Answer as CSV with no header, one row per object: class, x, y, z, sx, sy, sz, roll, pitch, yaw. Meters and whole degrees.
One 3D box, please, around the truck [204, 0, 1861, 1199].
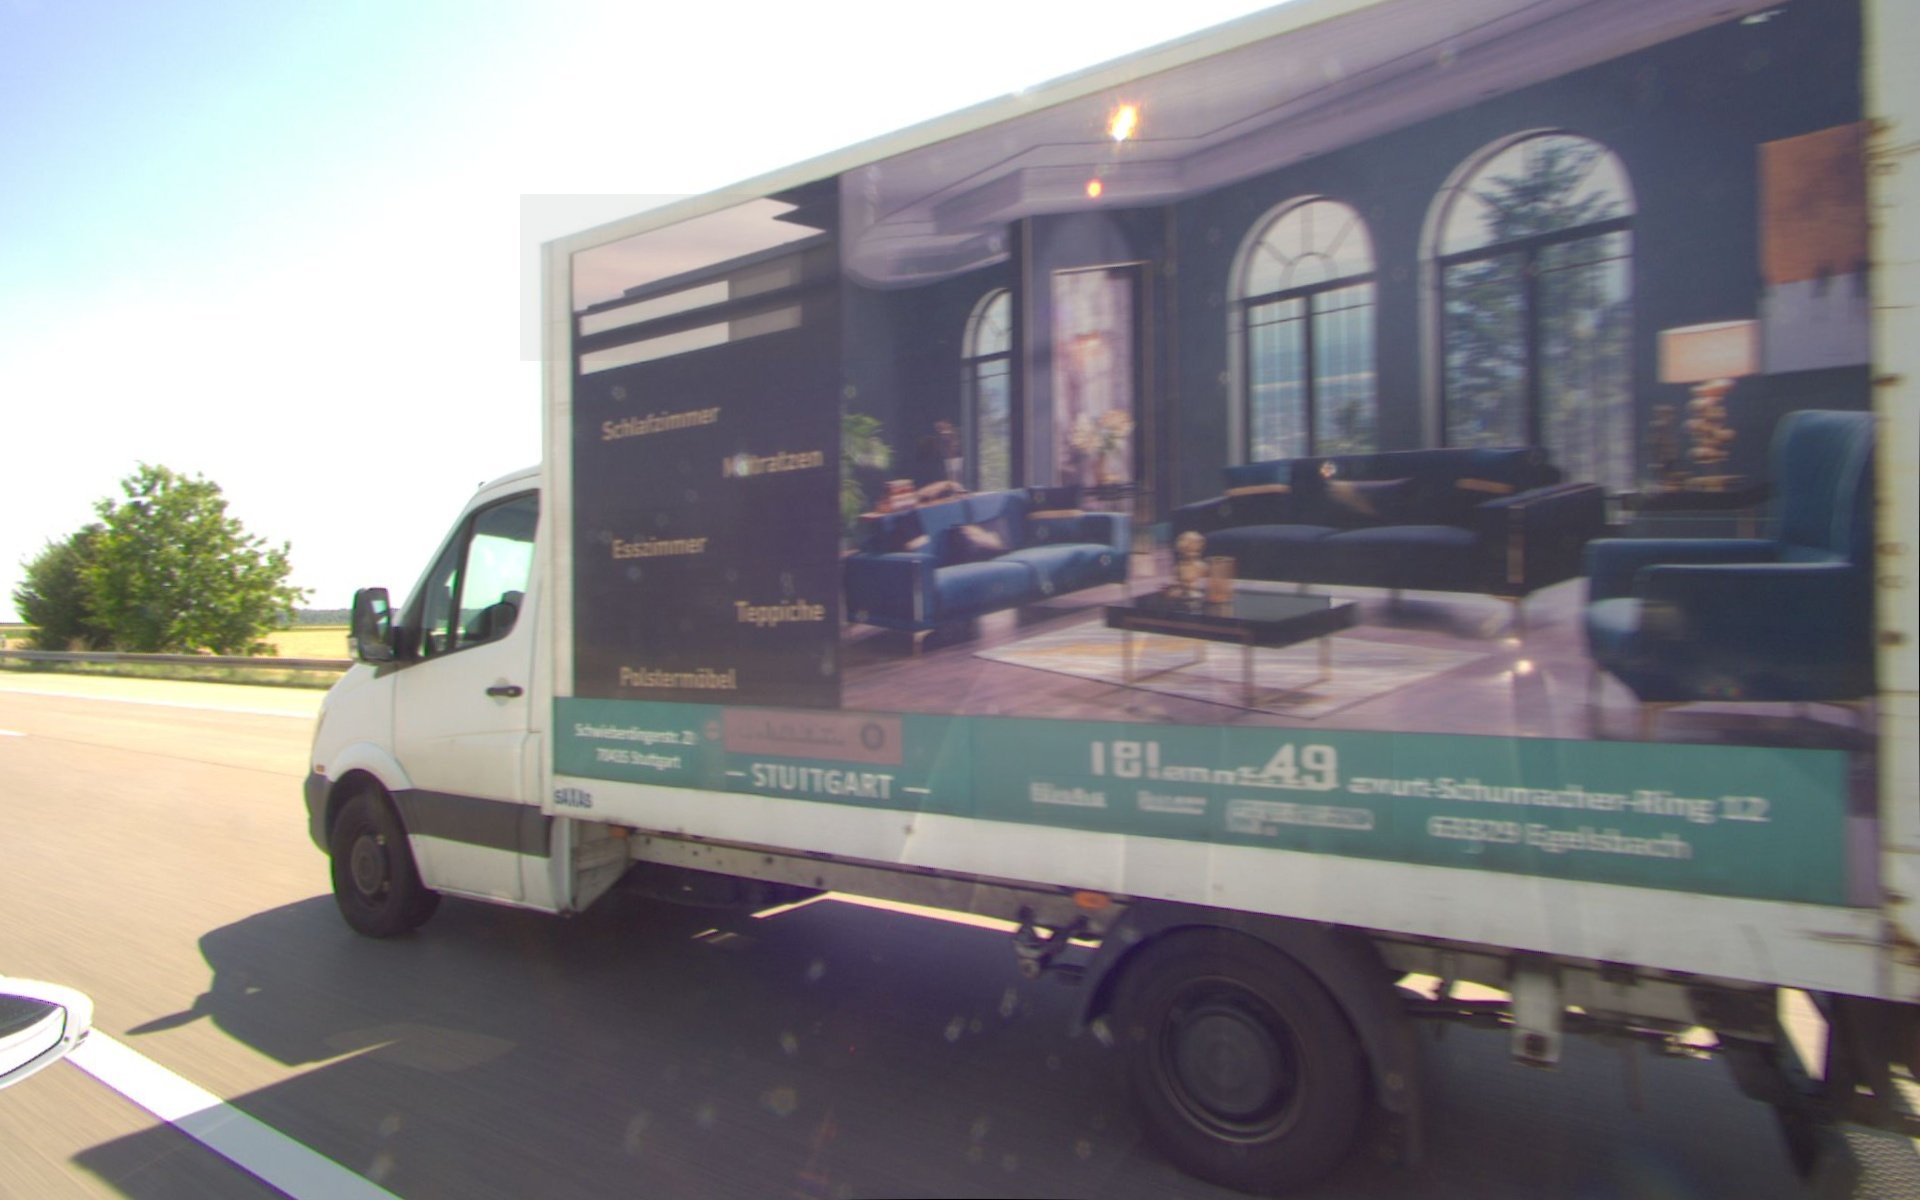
truck,-0.585,0.052,4.590,6.653,3.107,2.317,-1,-1,32
